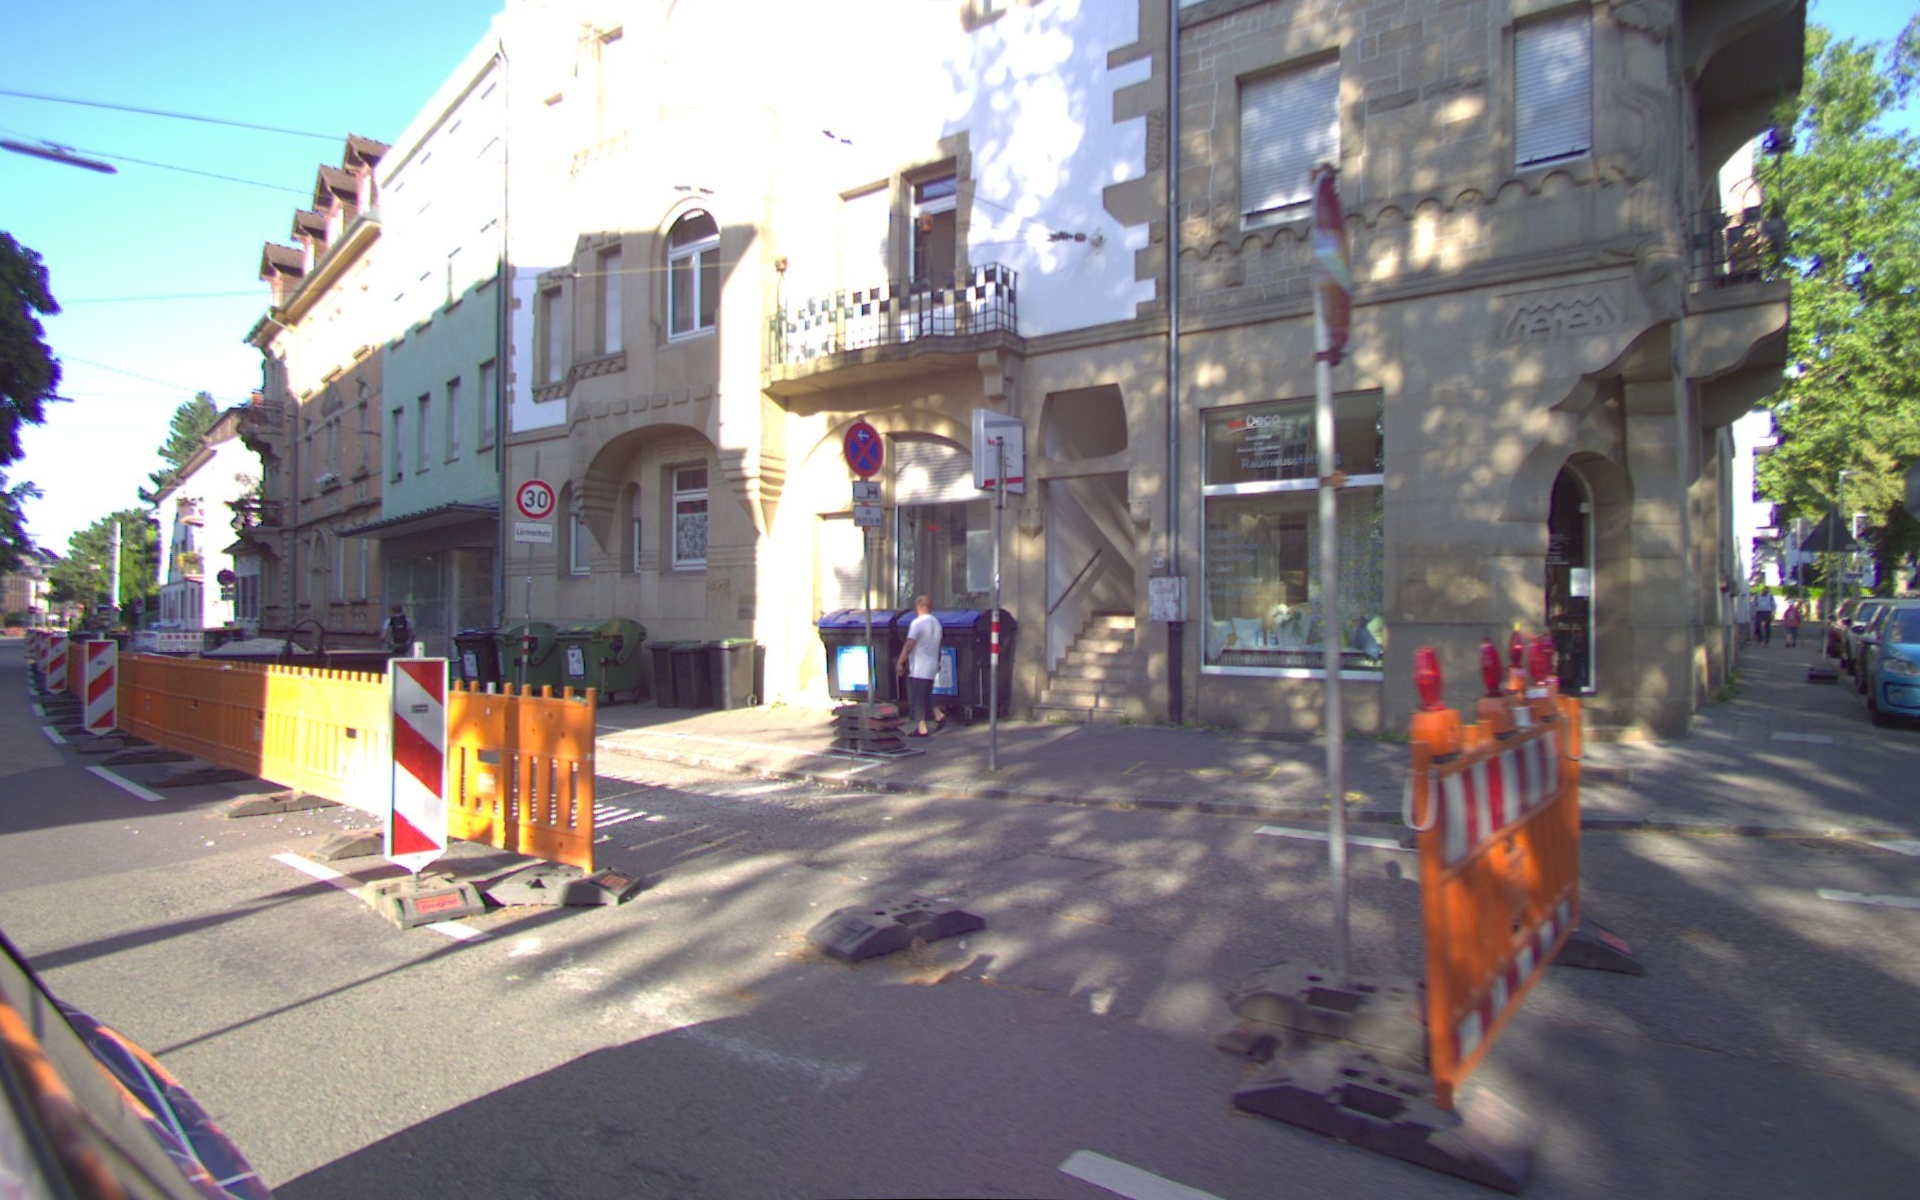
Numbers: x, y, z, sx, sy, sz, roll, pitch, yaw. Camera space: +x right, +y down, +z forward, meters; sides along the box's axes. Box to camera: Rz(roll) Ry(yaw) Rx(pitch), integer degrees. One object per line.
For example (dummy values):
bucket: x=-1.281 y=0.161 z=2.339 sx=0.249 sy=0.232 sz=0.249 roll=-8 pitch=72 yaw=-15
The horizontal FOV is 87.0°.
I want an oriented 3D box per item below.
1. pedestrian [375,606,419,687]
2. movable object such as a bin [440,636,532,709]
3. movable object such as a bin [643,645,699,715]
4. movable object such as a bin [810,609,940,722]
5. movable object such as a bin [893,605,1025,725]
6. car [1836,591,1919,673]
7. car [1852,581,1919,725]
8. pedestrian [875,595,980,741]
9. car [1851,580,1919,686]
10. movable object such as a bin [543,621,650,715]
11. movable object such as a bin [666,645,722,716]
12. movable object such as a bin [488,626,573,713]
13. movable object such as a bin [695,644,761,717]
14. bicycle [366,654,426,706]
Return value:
pedestrian: x=-11.170 y=0.907 z=20.081 sx=0.616 sy=1.567 sz=0.592 roll=-1 pitch=0 yaw=42
movable object such as a bin: x=-8.884 y=1.327 z=18.961 sx=1.333 sy=1.273 sz=1.072 roll=-1 pitch=0 yaw=39
movable object such as a bin: x=-4.603 y=1.263 z=16.123 sx=0.587 sy=1.049 sz=0.630 roll=-1 pitch=0 yaw=37
movable object such as a bin: x=-1.168 y=0.865 z=13.948 sx=1.403 sy=1.442 sz=1.074 roll=-1 pitch=0 yaw=32
movable object such as a bin: x=-0.006 y=0.799 z=13.108 sx=1.341 sy=1.442 sz=1.074 roll=-1 pitch=0 yaw=32
car: x=18.642 y=0.608 z=19.765 sx=1.997 sy=1.497 sz=3.950 roll=-1 pitch=-2 yaw=37
car: x=12.263 y=0.595 z=12.138 sx=1.997 sy=1.564 sz=3.950 roll=-1 pitch=-2 yaw=37
pedestrian: x=-0.369 y=0.760 z=11.775 sx=0.913 sy=1.615 sz=0.815 roll=-1 pitch=0 yaw=29
car: x=15.246 y=0.492 z=15.540 sx=1.997 sy=1.497 sz=3.950 roll=-1 pitch=-2 yaw=37
movable object such as a bin: x=-6.038 y=1.094 z=16.807 sx=1.405 sy=1.442 sz=1.072 roll=-1 pitch=0 yaw=37
movable object such as a bin: x=-4.142 y=1.239 z=15.779 sx=0.555 sy=1.031 sz=0.630 roll=-1 pitch=0 yaw=37
movable object such as a bin: x=-7.626 y=1.193 z=17.943 sx=1.068 sy=1.442 sz=1.410 roll=-1 pitch=0 yaw=-37
movable object such as a bin: x=-3.548 y=1.207 z=15.453 sx=0.763 sy=1.049 sz=0.630 roll=-1 pitch=0 yaw=37
bicycle: x=-11.225 y=1.573 z=20.127 sx=1.473 sy=0.939 sz=0.593 roll=-2 pitch=0 yaw=42
